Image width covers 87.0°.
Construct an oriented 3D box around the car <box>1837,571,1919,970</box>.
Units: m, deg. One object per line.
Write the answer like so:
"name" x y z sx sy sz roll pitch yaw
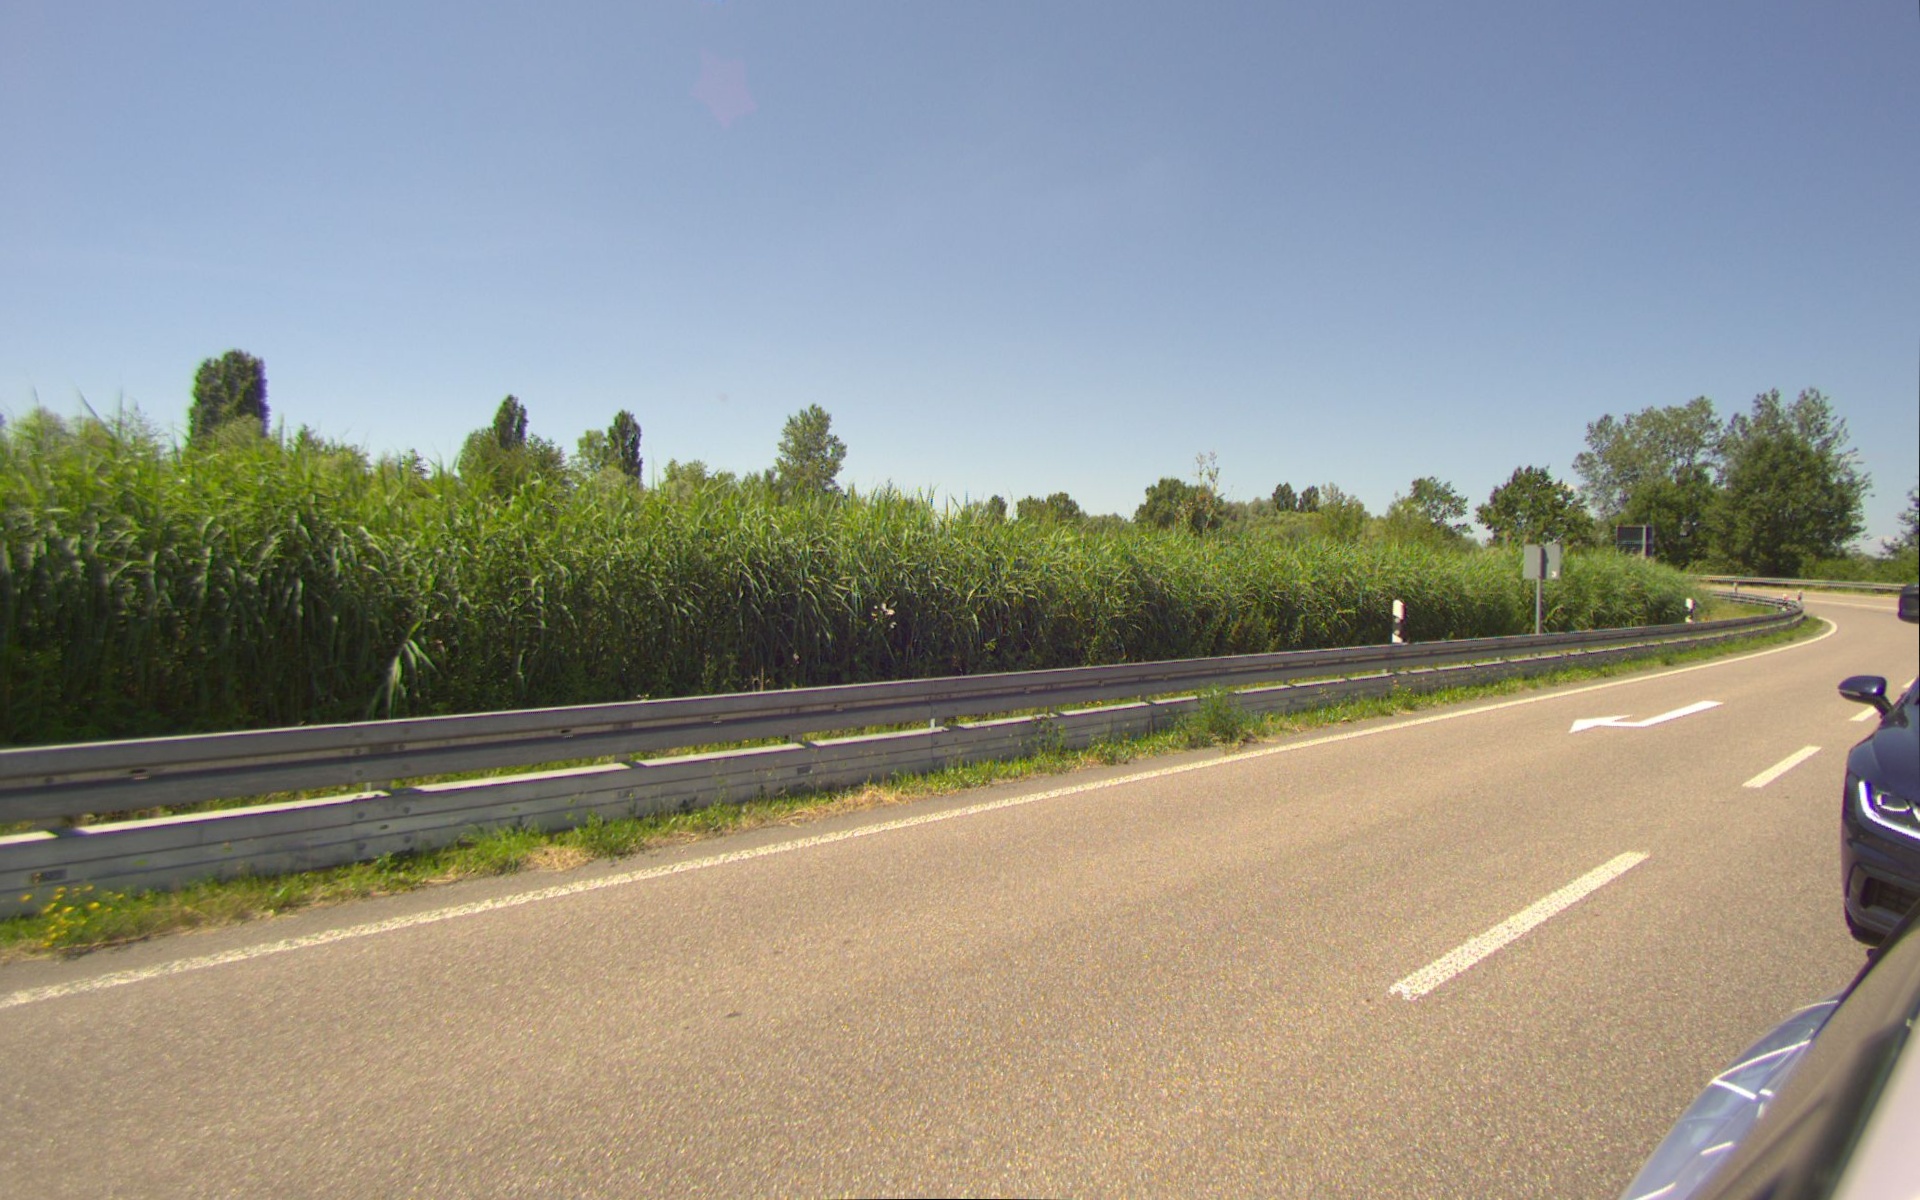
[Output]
"car" 5.639 0.621 4.670 4.338 1.481 1.818 -1 1 -41
